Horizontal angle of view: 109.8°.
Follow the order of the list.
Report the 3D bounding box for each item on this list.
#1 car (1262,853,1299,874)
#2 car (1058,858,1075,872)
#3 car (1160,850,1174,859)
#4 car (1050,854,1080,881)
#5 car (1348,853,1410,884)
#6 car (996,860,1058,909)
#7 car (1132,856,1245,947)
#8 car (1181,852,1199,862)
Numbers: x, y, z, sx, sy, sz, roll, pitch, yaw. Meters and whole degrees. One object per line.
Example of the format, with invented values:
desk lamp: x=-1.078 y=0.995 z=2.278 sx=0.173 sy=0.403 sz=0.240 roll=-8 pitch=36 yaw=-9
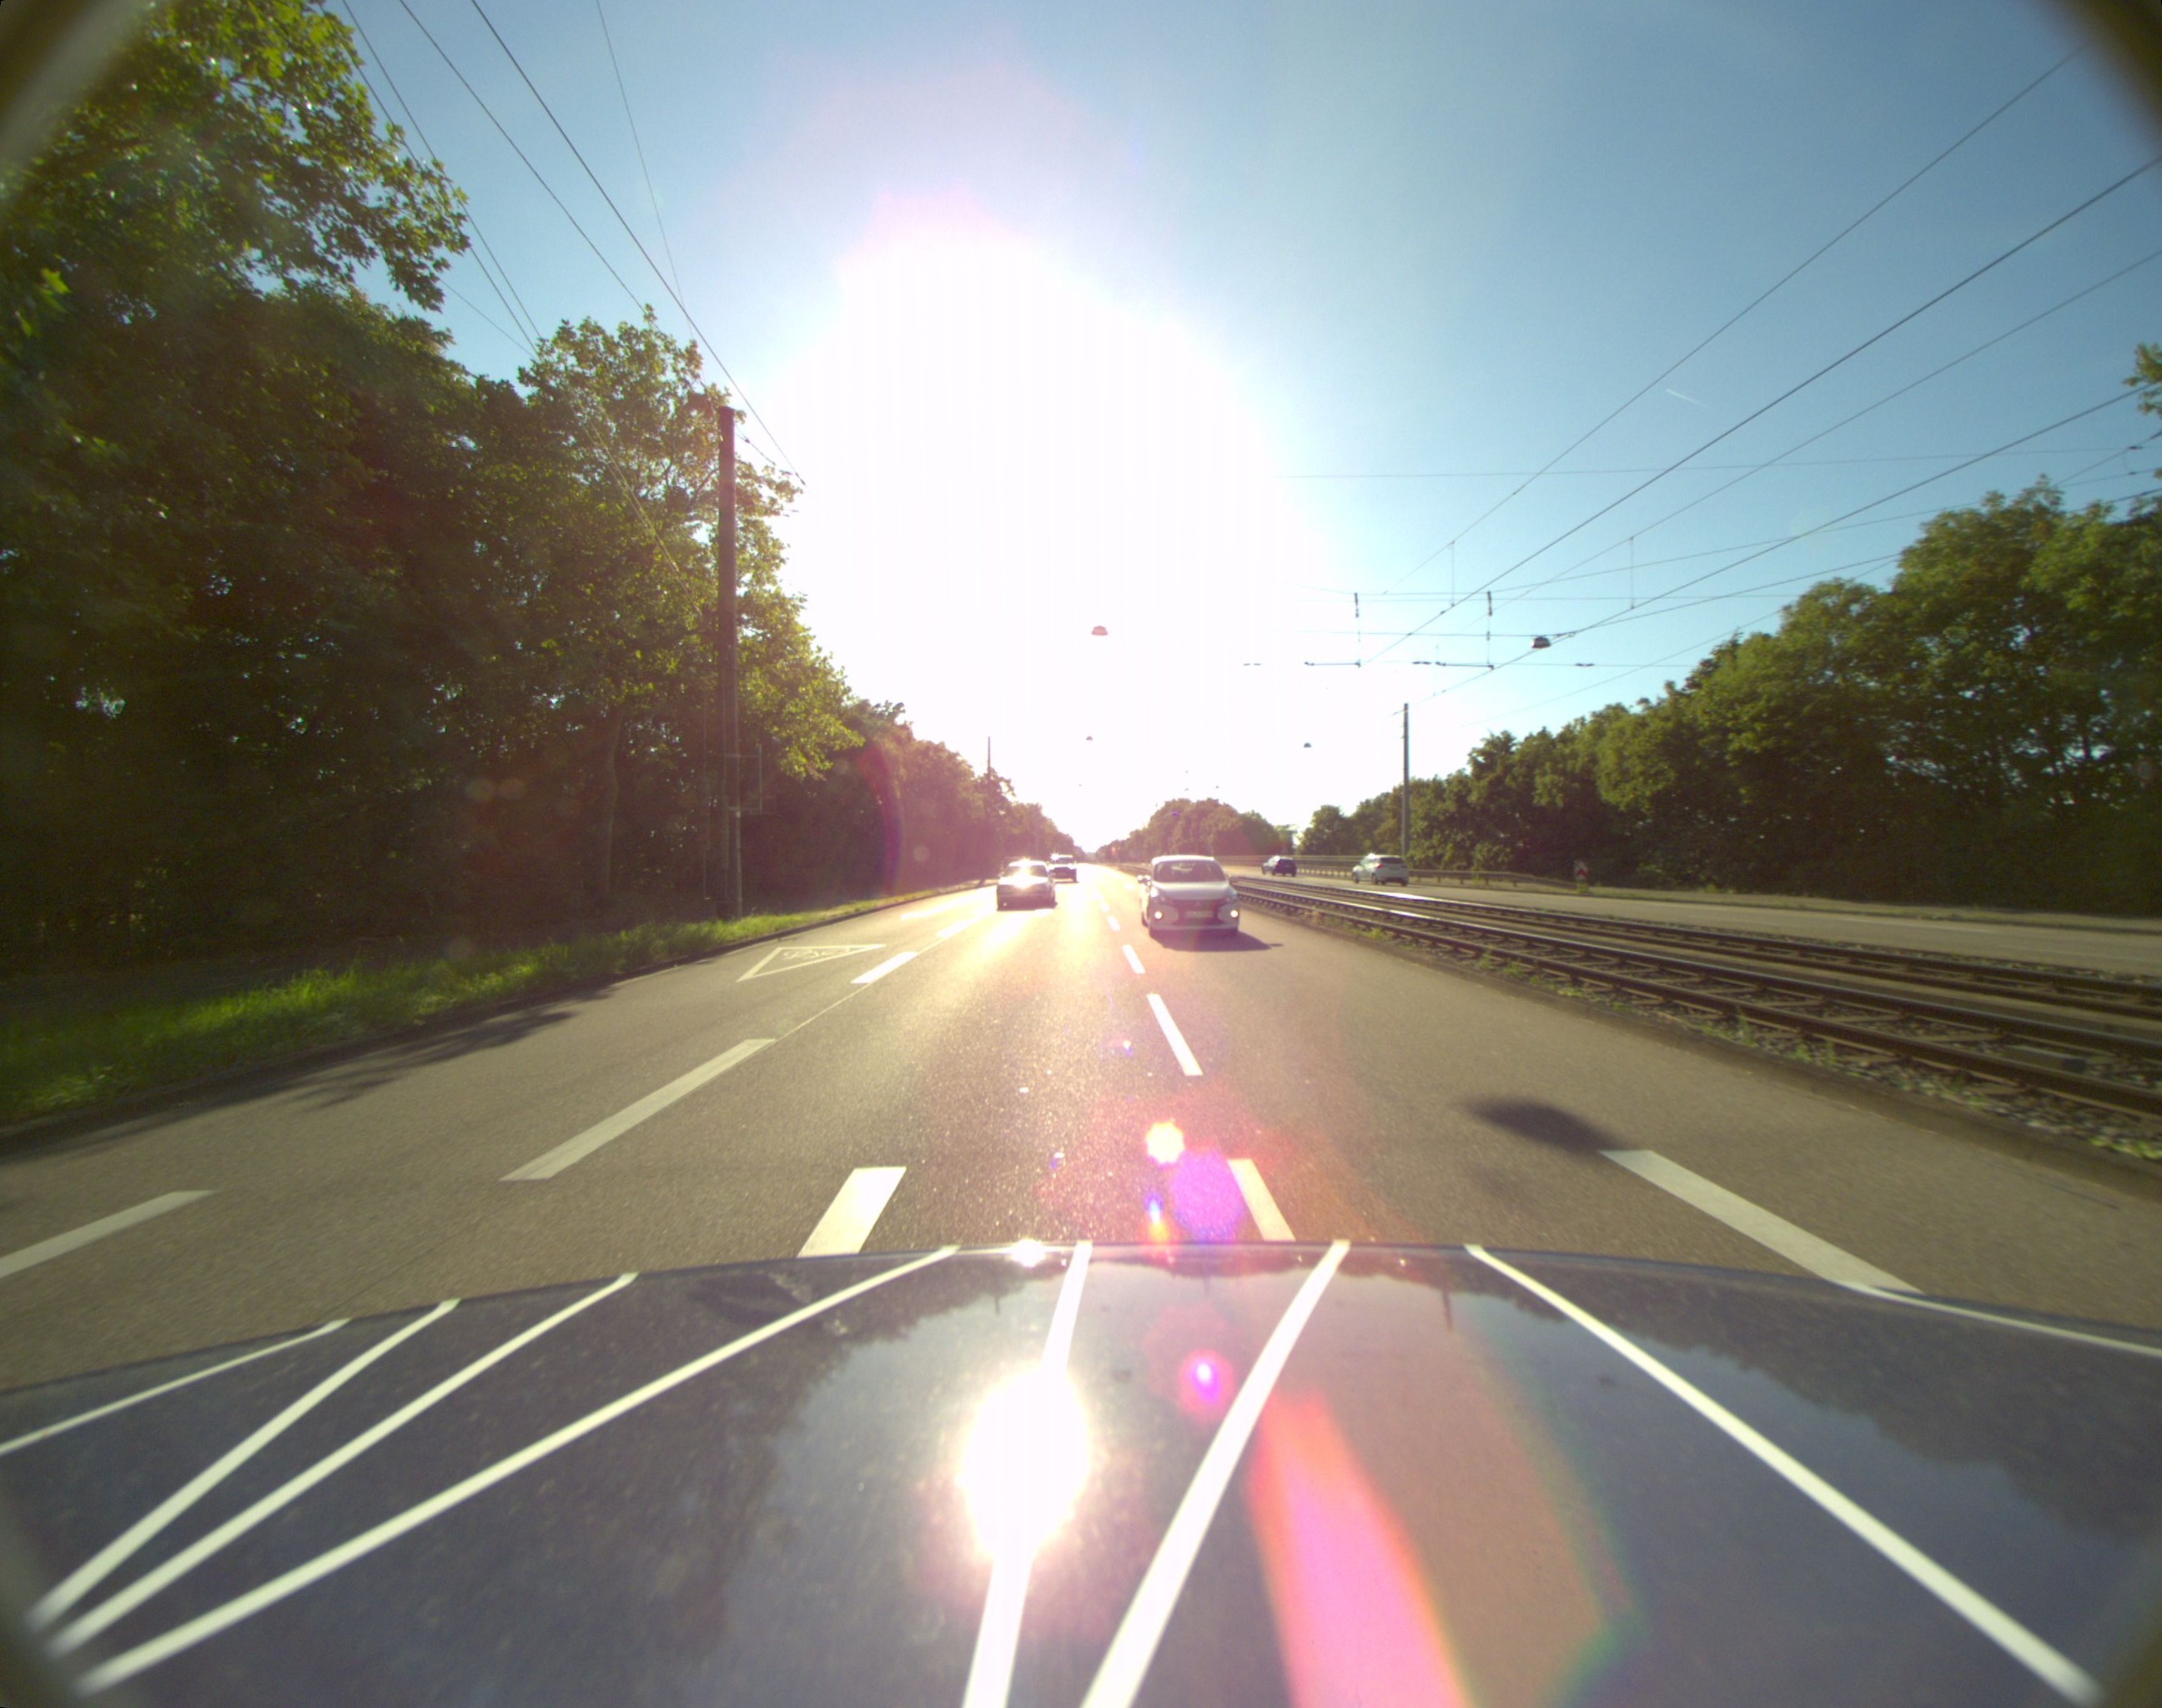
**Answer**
car: x=15.436 y=0.708 z=58.882 sx=1.661 sy=1.424 sz=4.501 roll=1 pitch=1 yaw=0
car: x=-1.712 y=1.336 z=90.377 sx=1.904 sy=1.512 sz=3.956 roll=-2 pitch=1 yaw=0
car: x=15.120 y=0.016 z=133.799 sx=1.713 sy=1.571 sz=4.800 roll=0 pitch=1 yaw=-1
car: x=-0.979 y=0.813 z=47.664 sx=1.709 sy=1.512 sz=3.844 roll=-2 pitch=1 yaw=0
car: x=16.114 y=0.742 z=41.300 sx=1.696 sy=1.547 sz=4.190 roll=1 pitch=1 yaw=-1
car: x=-1.730 y=0.959 z=25.427 sx=1.693 sy=1.409 sz=4.134 roll=-2 pitch=1 yaw=0
car: x=2.007 y=0.828 z=15.168 sx=1.709 sy=1.503 sz=3.862 roll=-2 pitch=1 yaw=0
car: x=15.486 y=0.409 z=108.257 sx=1.759 sy=1.406 sz=4.876 roll=2 pitch=1 yaw=-2
